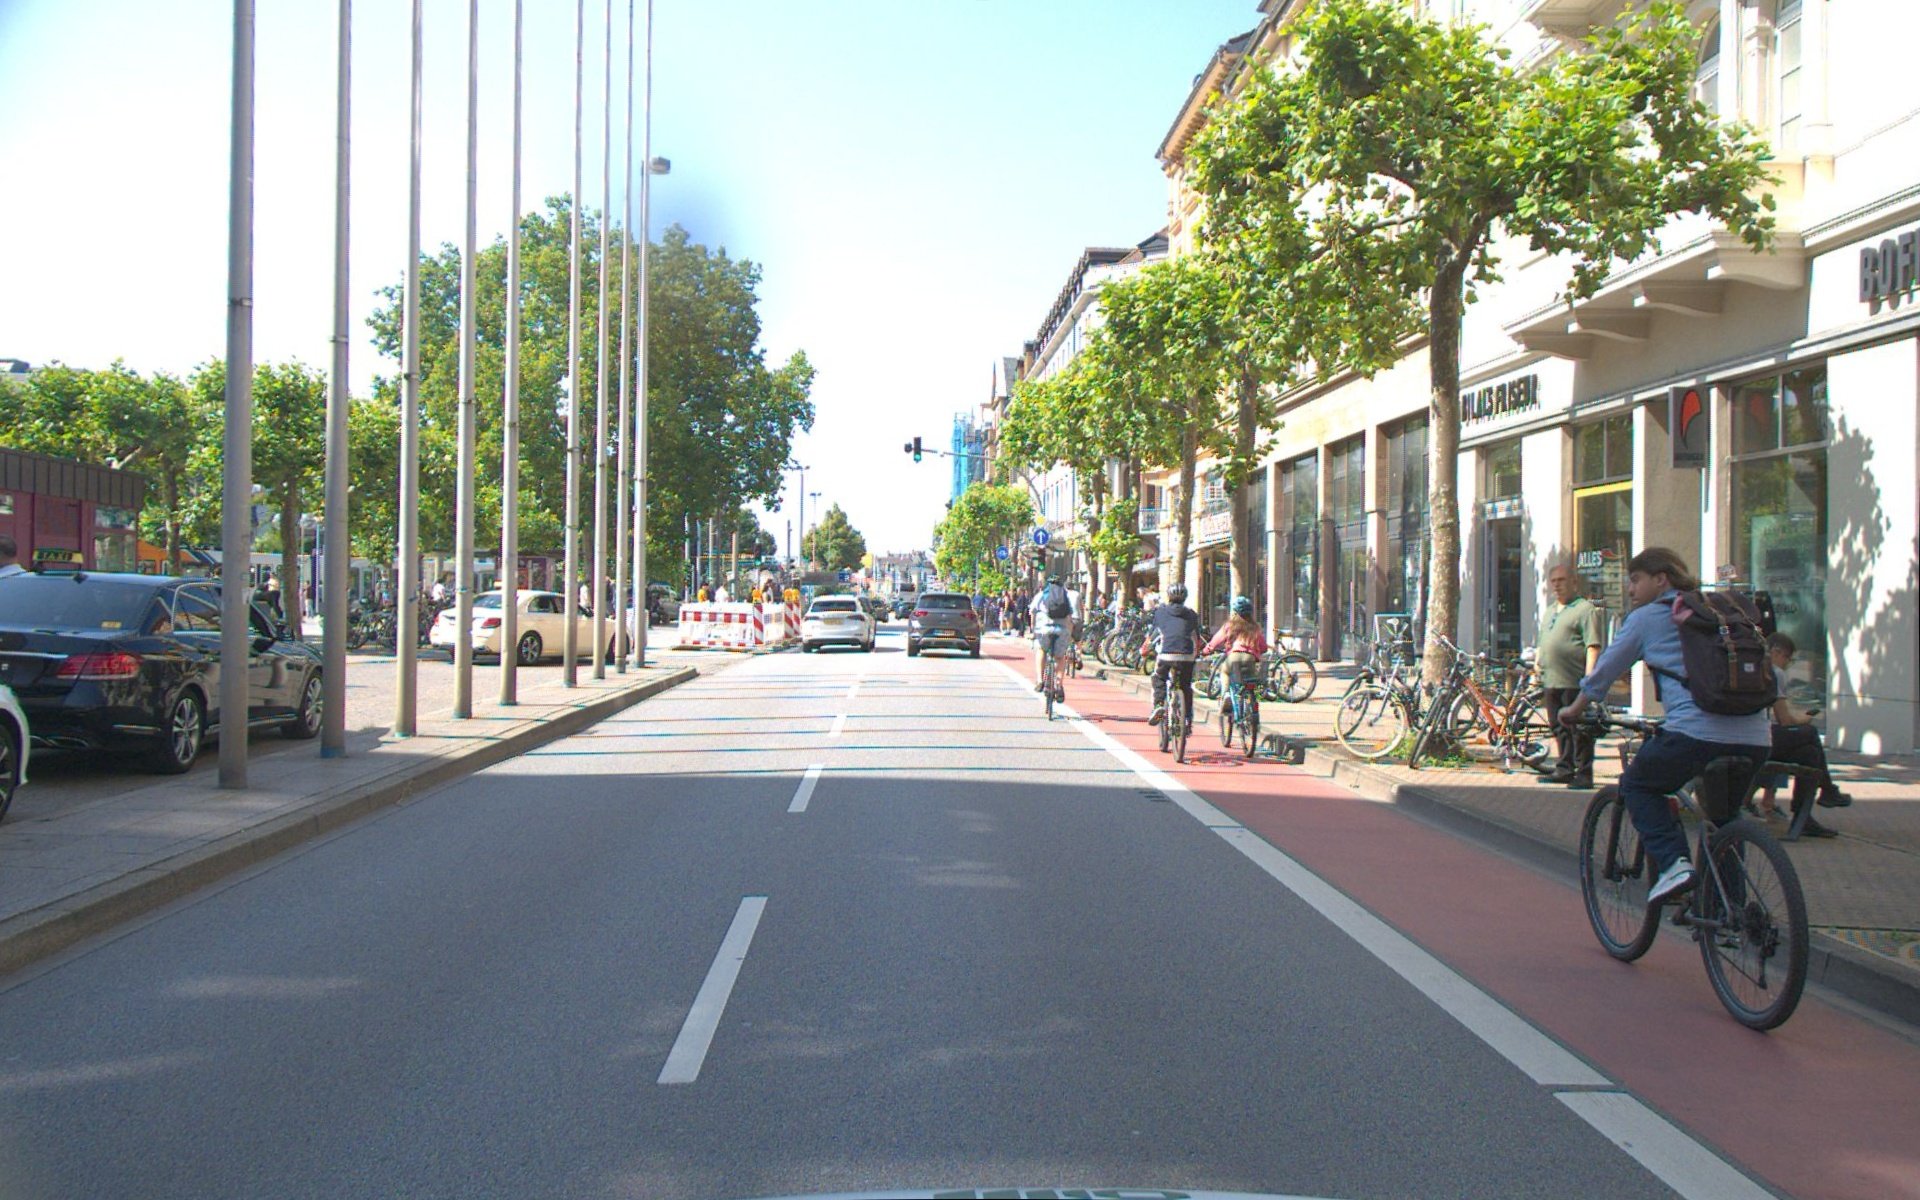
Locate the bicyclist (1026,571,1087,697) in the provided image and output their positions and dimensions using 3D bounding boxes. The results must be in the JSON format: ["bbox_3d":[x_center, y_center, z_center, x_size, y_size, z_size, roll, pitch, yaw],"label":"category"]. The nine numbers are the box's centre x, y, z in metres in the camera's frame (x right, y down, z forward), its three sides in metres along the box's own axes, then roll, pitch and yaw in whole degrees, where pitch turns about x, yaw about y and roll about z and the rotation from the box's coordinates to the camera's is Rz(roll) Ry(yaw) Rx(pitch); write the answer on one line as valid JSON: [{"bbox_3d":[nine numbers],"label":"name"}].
[{"bbox_3d":[1.177,0.411,20.367,0.617,1.507,1.197,0,0,-3],"label":"bicyclist"}]

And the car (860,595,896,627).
[{"bbox_3d":[-4.272,0.571,86.513,1.809,1.587,3.998,1,0,-3],"label":"car"}]

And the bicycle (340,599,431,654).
[{"bbox_3d":[-12.408,0.567,35.724,1.747,1.152,0.562,1,0,-5],"label":"bicycle"}]

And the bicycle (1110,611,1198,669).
[{"bbox_3d":[3.881,0.799,33.116,1.693,1.128,0.477,1,0,0],"label":"bicycle"}]

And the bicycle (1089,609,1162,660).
[{"bbox_3d":[3.787,0.787,37.900,1.615,1.114,0.607,1,0,0],"label":"bicycle"}]

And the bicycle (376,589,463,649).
[{"bbox_3d":[-12.281,0.428,37.590,1.747,1.331,0.662,1,0,-5],"label":"bicycle"}]

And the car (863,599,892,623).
[{"bbox_3d":[-5.203,0.685,104.196,1.809,1.438,3.998,1,0,-3],"label":"car"}]

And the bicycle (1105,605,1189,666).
[{"bbox_3d":[3.915,0.738,34.695,1.693,1.238,0.477,1,0,0],"label":"bicycle"}]

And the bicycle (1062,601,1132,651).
[{"bbox_3d":[3.722,0.702,44.964,1.796,1.332,0.684,1,0,-23],"label":"bicycle"}]

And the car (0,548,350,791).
[{"bbox_3d":[-6.587,0.450,13.442,1.726,1.628,4.707,1,0,-3],"label":"car"}]

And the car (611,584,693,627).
[{"bbox_3d":[-14.974,0.282,80.599,1.820,1.989,4.762,1,-1,19],"label":"car"}]

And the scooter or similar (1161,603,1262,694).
[{"bbox_3d":[3.799,0.721,25.029,1.443,1.297,0.670,2,0,9],"label":"scooter or similar"}]

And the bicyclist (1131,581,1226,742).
[{"bbox_3d":[2.066,0.570,15.723,0.685,1.466,0.789,2,0,-6],"label":"bicyclist"}]

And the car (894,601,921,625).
[{"bbox_3d":[-4.039,0.985,127.115,1.809,1.697,3.996,2,0,-5],"label":"car"}]

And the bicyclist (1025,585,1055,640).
[{"bbox_3d":[2.722,0.433,56.210,0.569,1.828,0.846,-2,0,-37],"label":"bicyclist"}]

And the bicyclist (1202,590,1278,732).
[{"bbox_3d":[2.789,0.598,16.509,0.588,1.381,0.720,0,-1,-5],"label":"bicyclist"}]

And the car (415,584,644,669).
[{"bbox_3d":[-8.702,0.528,33.899,1.854,1.569,4.858,2,0,25],"label":"car"}]

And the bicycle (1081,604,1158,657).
[{"bbox_3d":[3.835,0.733,39.839,1.806,1.222,0.474,1,0,0],"label":"bicycle"}]

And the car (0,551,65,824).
[{"bbox_3d":[-6.260,0.494,7.655,1.763,1.549,4.737,2,1,-2],"label":"car"}]

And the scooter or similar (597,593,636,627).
[{"bbox_3d":[-14.942,0.449,71.952,1.252,1.445,1.037,0,-1,28],"label":"scooter or similar"}]

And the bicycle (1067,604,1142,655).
[{"bbox_3d":[3.589,0.733,41.141,1.806,1.222,0.608,1,0,0],"label":"bicycle"}]

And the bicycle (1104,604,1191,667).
[{"bbox_3d":[3.786,0.721,33.473,1.693,1.238,0.477,1,0,0],"label":"bicycle"}]

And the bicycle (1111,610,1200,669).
[{"bbox_3d":[3.862,0.782,32.696,1.693,1.128,0.402,1,0,0],"label":"bicycle"}]

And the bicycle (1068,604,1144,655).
[{"bbox_3d":[3.572,0.727,40.634,1.806,1.222,0.545,1,0,0],"label":"bicycle"}]

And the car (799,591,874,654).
[{"bbox_3d":[-3.244,0.553,44.096,1.808,1.587,3.998,0,0,-2],"label":"car"}]

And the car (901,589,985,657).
[{"bbox_3d":[-0.465,0.524,40.651,1.809,1.586,3.996,0,0,-5],"label":"car"}]

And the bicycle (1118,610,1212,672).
[{"bbox_3d":[3.884,0.763,31.430,1.693,1.128,0.736,1,0,0],"label":"bicycle"}]

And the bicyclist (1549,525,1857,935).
[{"bbox_3d":[2.881,0.477,6.506,0.685,1.471,0.960,2,0,-6],"label":"bicyclist"}]

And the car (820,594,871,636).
[{"bbox_3d":[-4.188,0.529,60.876,1.809,1.474,3.998,0,0,-3],"label":"car"}]

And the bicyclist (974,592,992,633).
[{"bbox_3d":[0.884,0.480,63.855,0.634,1.578,0.817,1,0,-3],"label":"bicyclist"}]

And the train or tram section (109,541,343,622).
[{"bbox_3d":[-36.166,-0.826,82.113,2.566,3.741,10.971,1,0,33],"label":"train or tram section"}]

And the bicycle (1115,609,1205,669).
[{"bbox_3d":[3.902,0.754,32.283,1.693,1.128,0.402,1,0,0],"label":"bicycle"}]

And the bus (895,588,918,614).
[{"bbox_3d":[-7.595,0.191,233.153,2.935,3.657,11.737,1,-1,-3],"label":"bus"}]

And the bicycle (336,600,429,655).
[{"bbox_3d":[-12.231,0.570,35.042,1.747,1.124,0.562,1,0,-5],"label":"bicycle"}]

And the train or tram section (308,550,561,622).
[{"bbox_3d":[-29.133,-0.688,93.101,2.566,3.741,15.504,1,0,33],"label":"train or tram section"}]

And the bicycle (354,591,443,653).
[{"bbox_3d":[-12.317,0.476,36.299,1.747,1.331,0.562,1,0,-5],"label":"bicycle"}]

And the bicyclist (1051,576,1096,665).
[{"bbox_3d":[2.145,0.388,31.343,0.759,1.664,0.851,0,0,-2],"label":"bicyclist"}]

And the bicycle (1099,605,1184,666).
[{"bbox_3d":[3.752,0.731,34.197,1.693,1.238,0.477,1,0,0],"label":"bicycle"}]

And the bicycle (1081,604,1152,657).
[{"bbox_3d":[3.725,0.730,39.420,1.615,1.222,0.474,1,0,0],"label":"bicycle"}]

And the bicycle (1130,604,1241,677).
[{"bbox_3d":[4.072,0.720,29.956,1.892,1.270,0.736,1,0,0],"label":"bicycle"}]
